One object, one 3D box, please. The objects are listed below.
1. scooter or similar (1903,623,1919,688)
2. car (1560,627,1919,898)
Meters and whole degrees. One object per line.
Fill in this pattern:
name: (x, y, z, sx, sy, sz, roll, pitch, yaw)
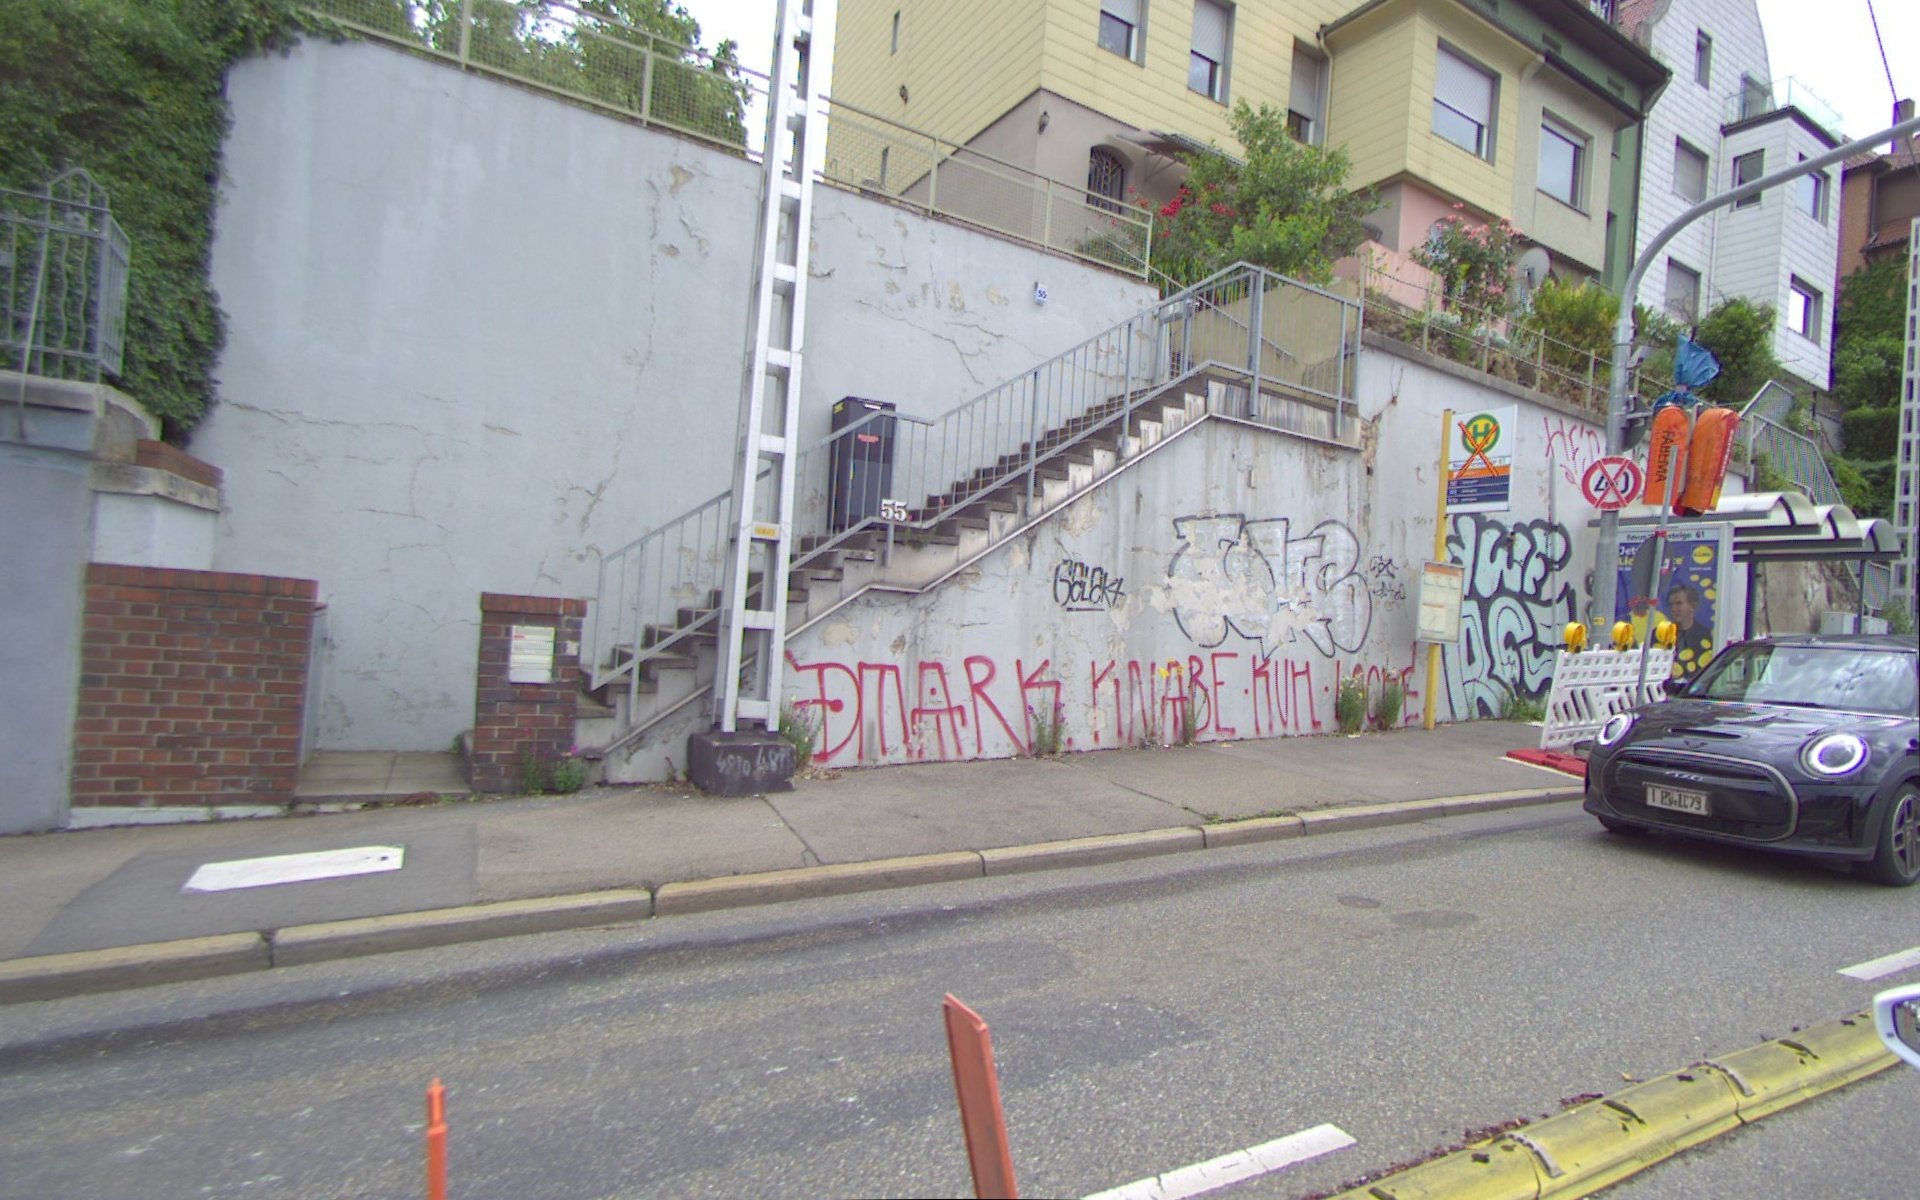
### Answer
scooter or similar: (18.840, 1.074, 19.424, 1.419, 1.221, 0.457, 1, 2, -31)
car: (6.085, 0.945, 7.015, 3.542, 1.449, 1.665, 2, -2, -28)
